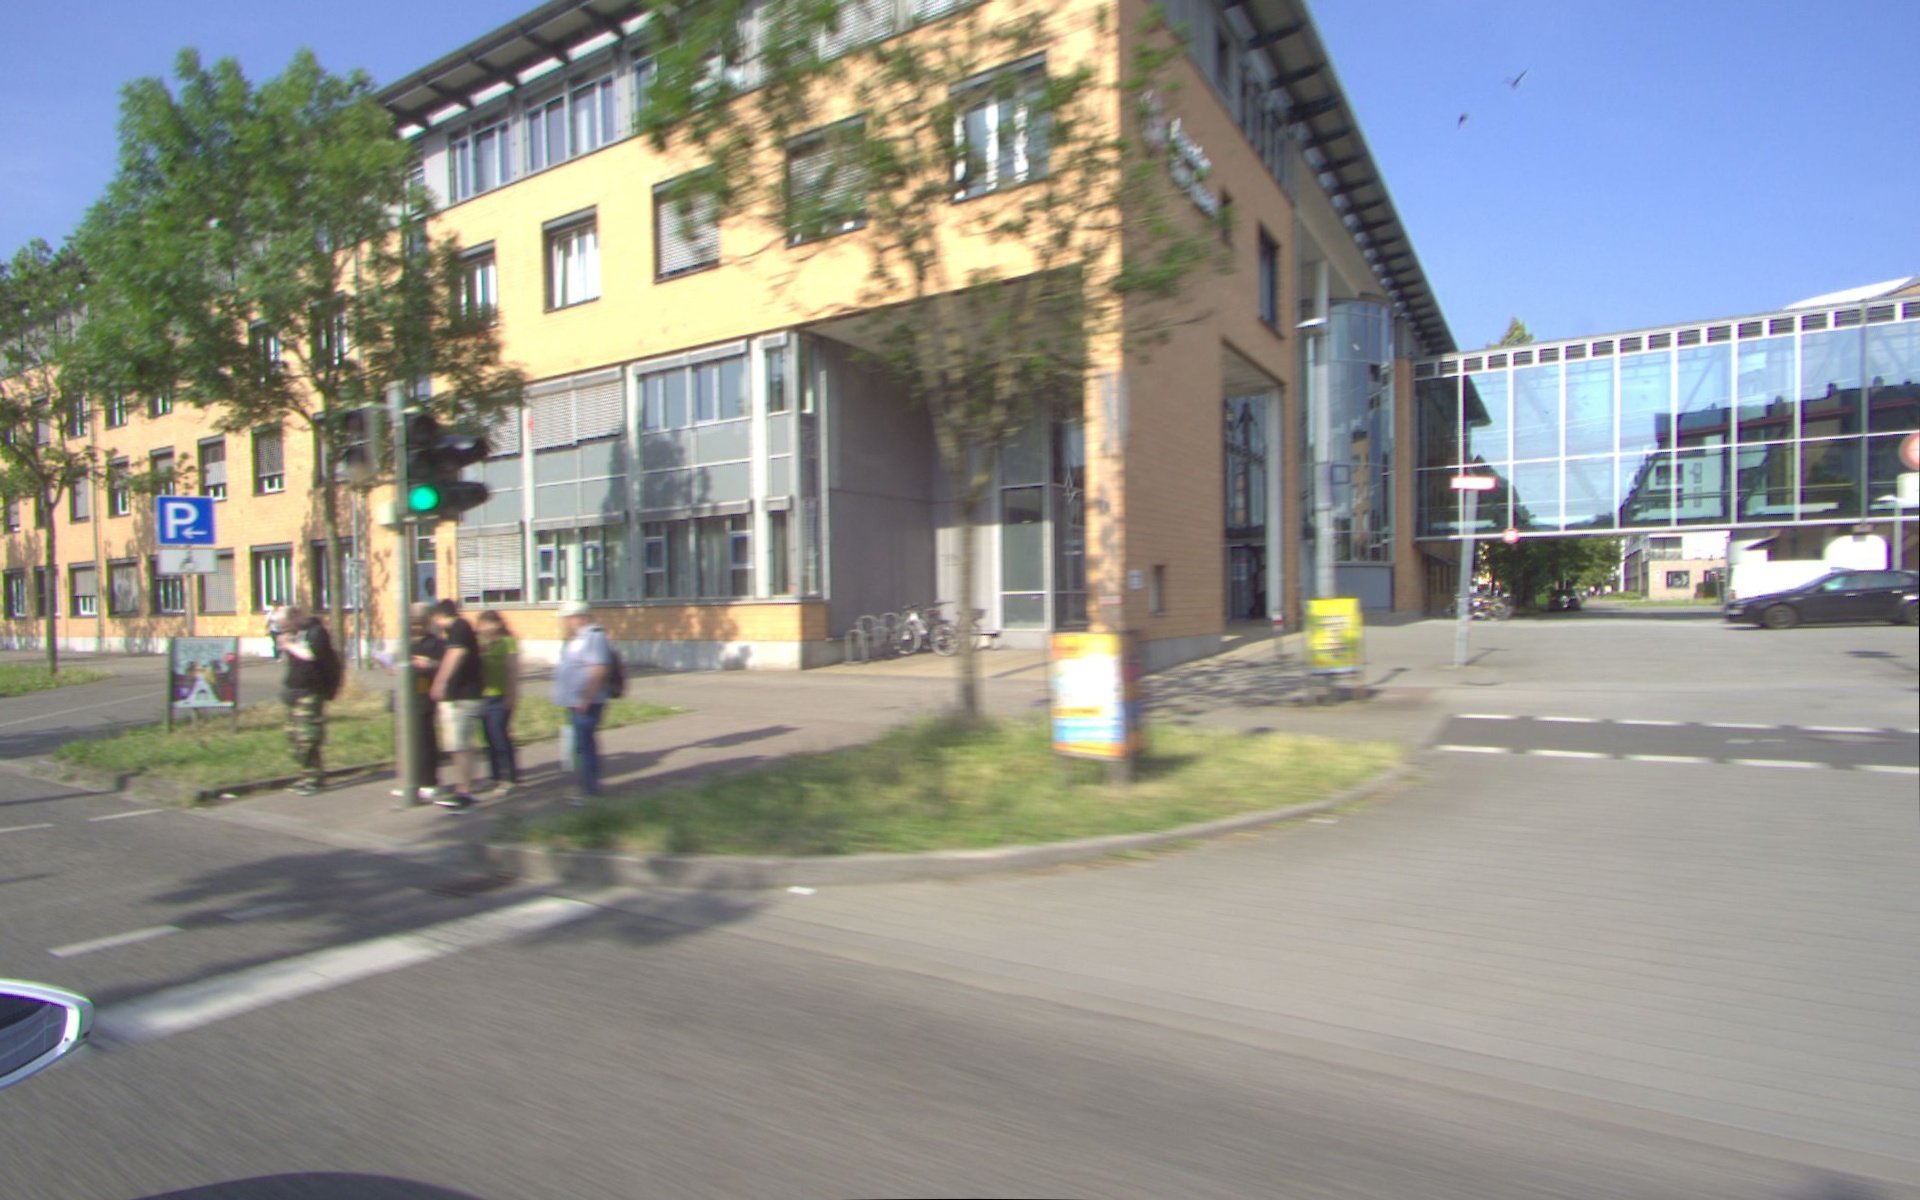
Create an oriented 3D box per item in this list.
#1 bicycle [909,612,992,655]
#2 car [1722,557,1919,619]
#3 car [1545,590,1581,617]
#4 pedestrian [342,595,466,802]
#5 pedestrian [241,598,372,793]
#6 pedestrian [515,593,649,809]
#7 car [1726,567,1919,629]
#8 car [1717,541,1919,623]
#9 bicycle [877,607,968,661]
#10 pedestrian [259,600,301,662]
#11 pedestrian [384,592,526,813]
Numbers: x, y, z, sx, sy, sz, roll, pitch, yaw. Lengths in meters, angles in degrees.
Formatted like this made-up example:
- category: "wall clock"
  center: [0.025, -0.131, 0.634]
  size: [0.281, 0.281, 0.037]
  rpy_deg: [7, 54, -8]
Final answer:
- category: "bicycle"
  center: [-0.213, 0.724, 21.803]
  size: [1.811, 0.901, 0.526]
  rpy_deg: [-1, 0, 32]
- category: "car"
  center: [25.740, -0.298, 30.053]
  size: [4.356, 1.661, 1.764]
  rpy_deg: [-1, -2, 32]
- category: "car"
  center: [37.584, 0.266, 62.367]
  size: [1.824, 1.503, 4.140]
  rpy_deg: [-1, -3, 32]
- category: "pedestrian"
  center: [-4.729, 0.806, 8.528]
  size: [0.599, 1.669, 0.633]
  rpy_deg: [-1, 2, 28]
- category: "pedestrian"
  center: [-5.946, 0.833, 9.131]
  size: [0.679, 1.669, 0.704]
  rpy_deg: [-1, 2, 30]
- category: "pedestrian"
  center: [-3.108, 0.793, 8.257]
  size: [0.679, 1.669, 0.704]
  rpy_deg: [-1, 2, 30]
- category: "car"
  center: [21.969, -0.010, 24.777]
  size: [4.638, 1.417, 1.592]
  rpy_deg: [-2, -2, 32]
- category: "car"
  center: [23.570, -0.422, 27.355]
  size: [4.396, 2.039, 1.991]
  rpy_deg: [-1, -2, 32]
- category: "bicycle"
  center: [-0.788, 0.699, 20.950]
  size: [1.811, 1.056, 0.649]
  rpy_deg: [-1, 3, 32]
- category: "pedestrian"
  center: [-18.640, 0.859, 27.461]
  size: [0.762, 1.677, 0.695]
  rpy_deg: [-1, -2, 32]
- category: "pedestrian"
  center: [-4.074, 0.788, 8.101]
  size: [0.679, 1.669, 0.704]
  rpy_deg: [-1, 2, 30]
